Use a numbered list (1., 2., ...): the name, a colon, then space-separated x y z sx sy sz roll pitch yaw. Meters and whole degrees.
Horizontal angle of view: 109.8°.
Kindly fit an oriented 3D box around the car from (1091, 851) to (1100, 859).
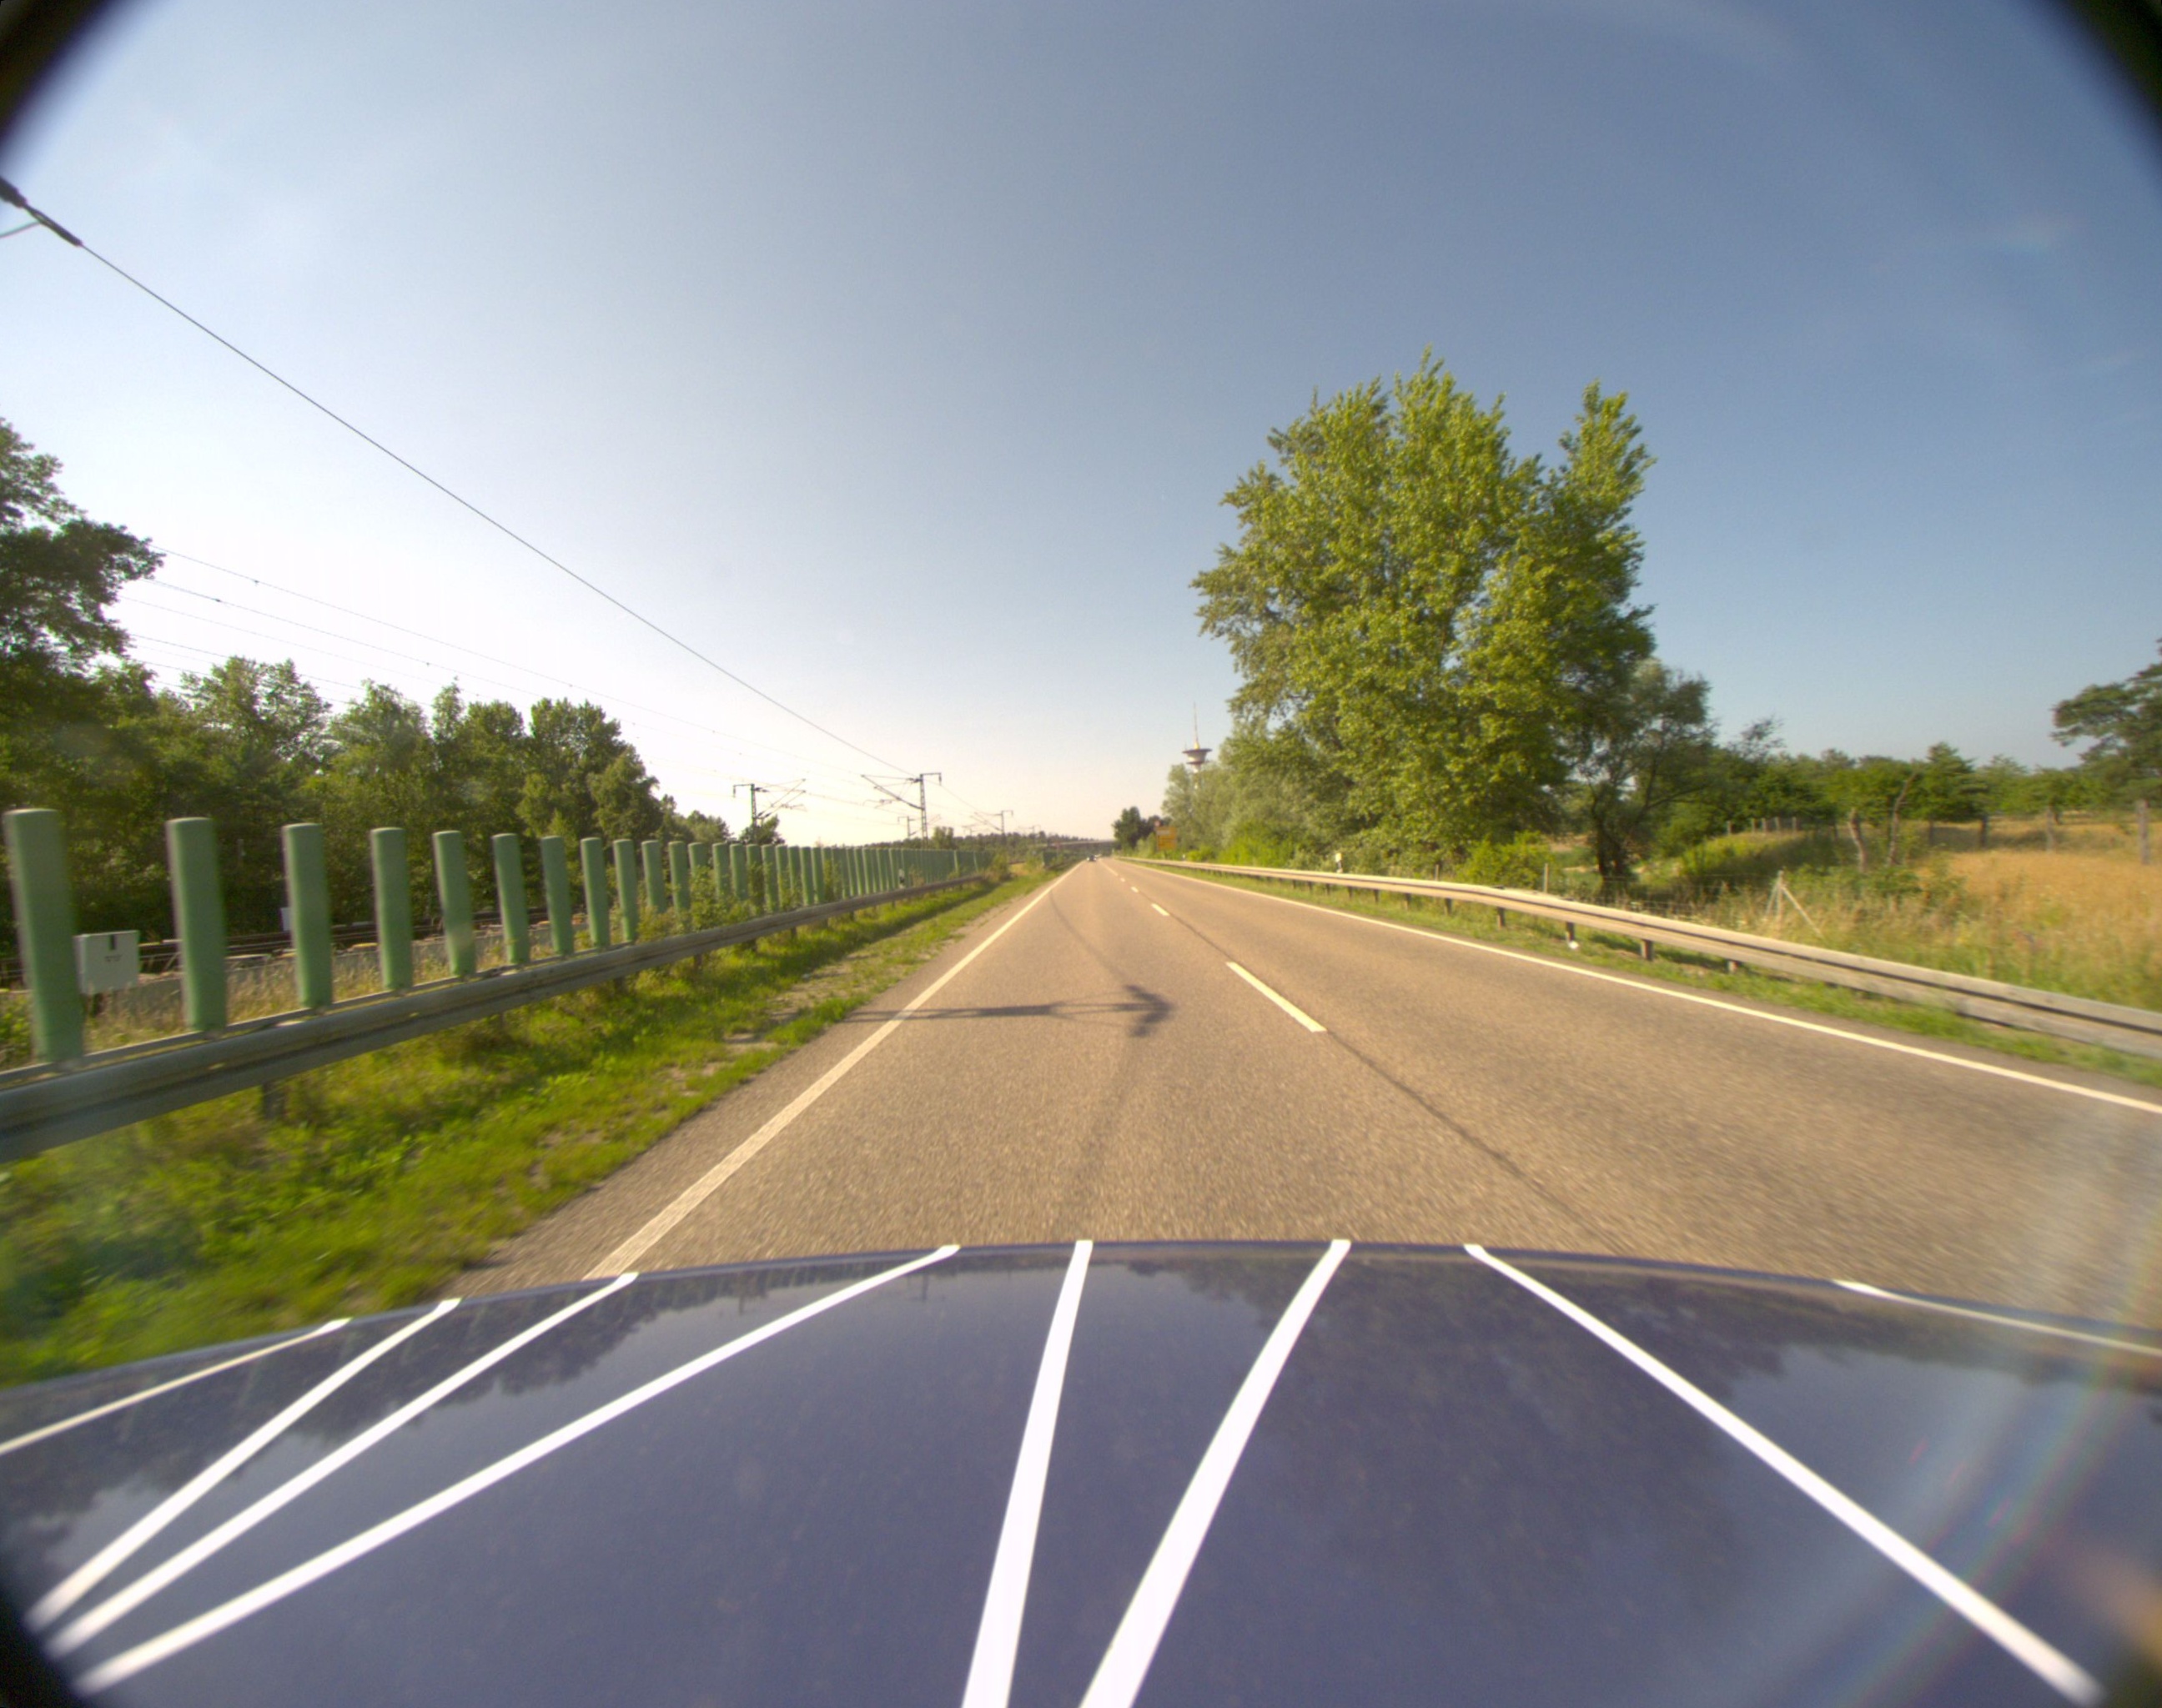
1. car: 2.985 0.229 154.710 1.868 1.533 4.076 -1 0 2
